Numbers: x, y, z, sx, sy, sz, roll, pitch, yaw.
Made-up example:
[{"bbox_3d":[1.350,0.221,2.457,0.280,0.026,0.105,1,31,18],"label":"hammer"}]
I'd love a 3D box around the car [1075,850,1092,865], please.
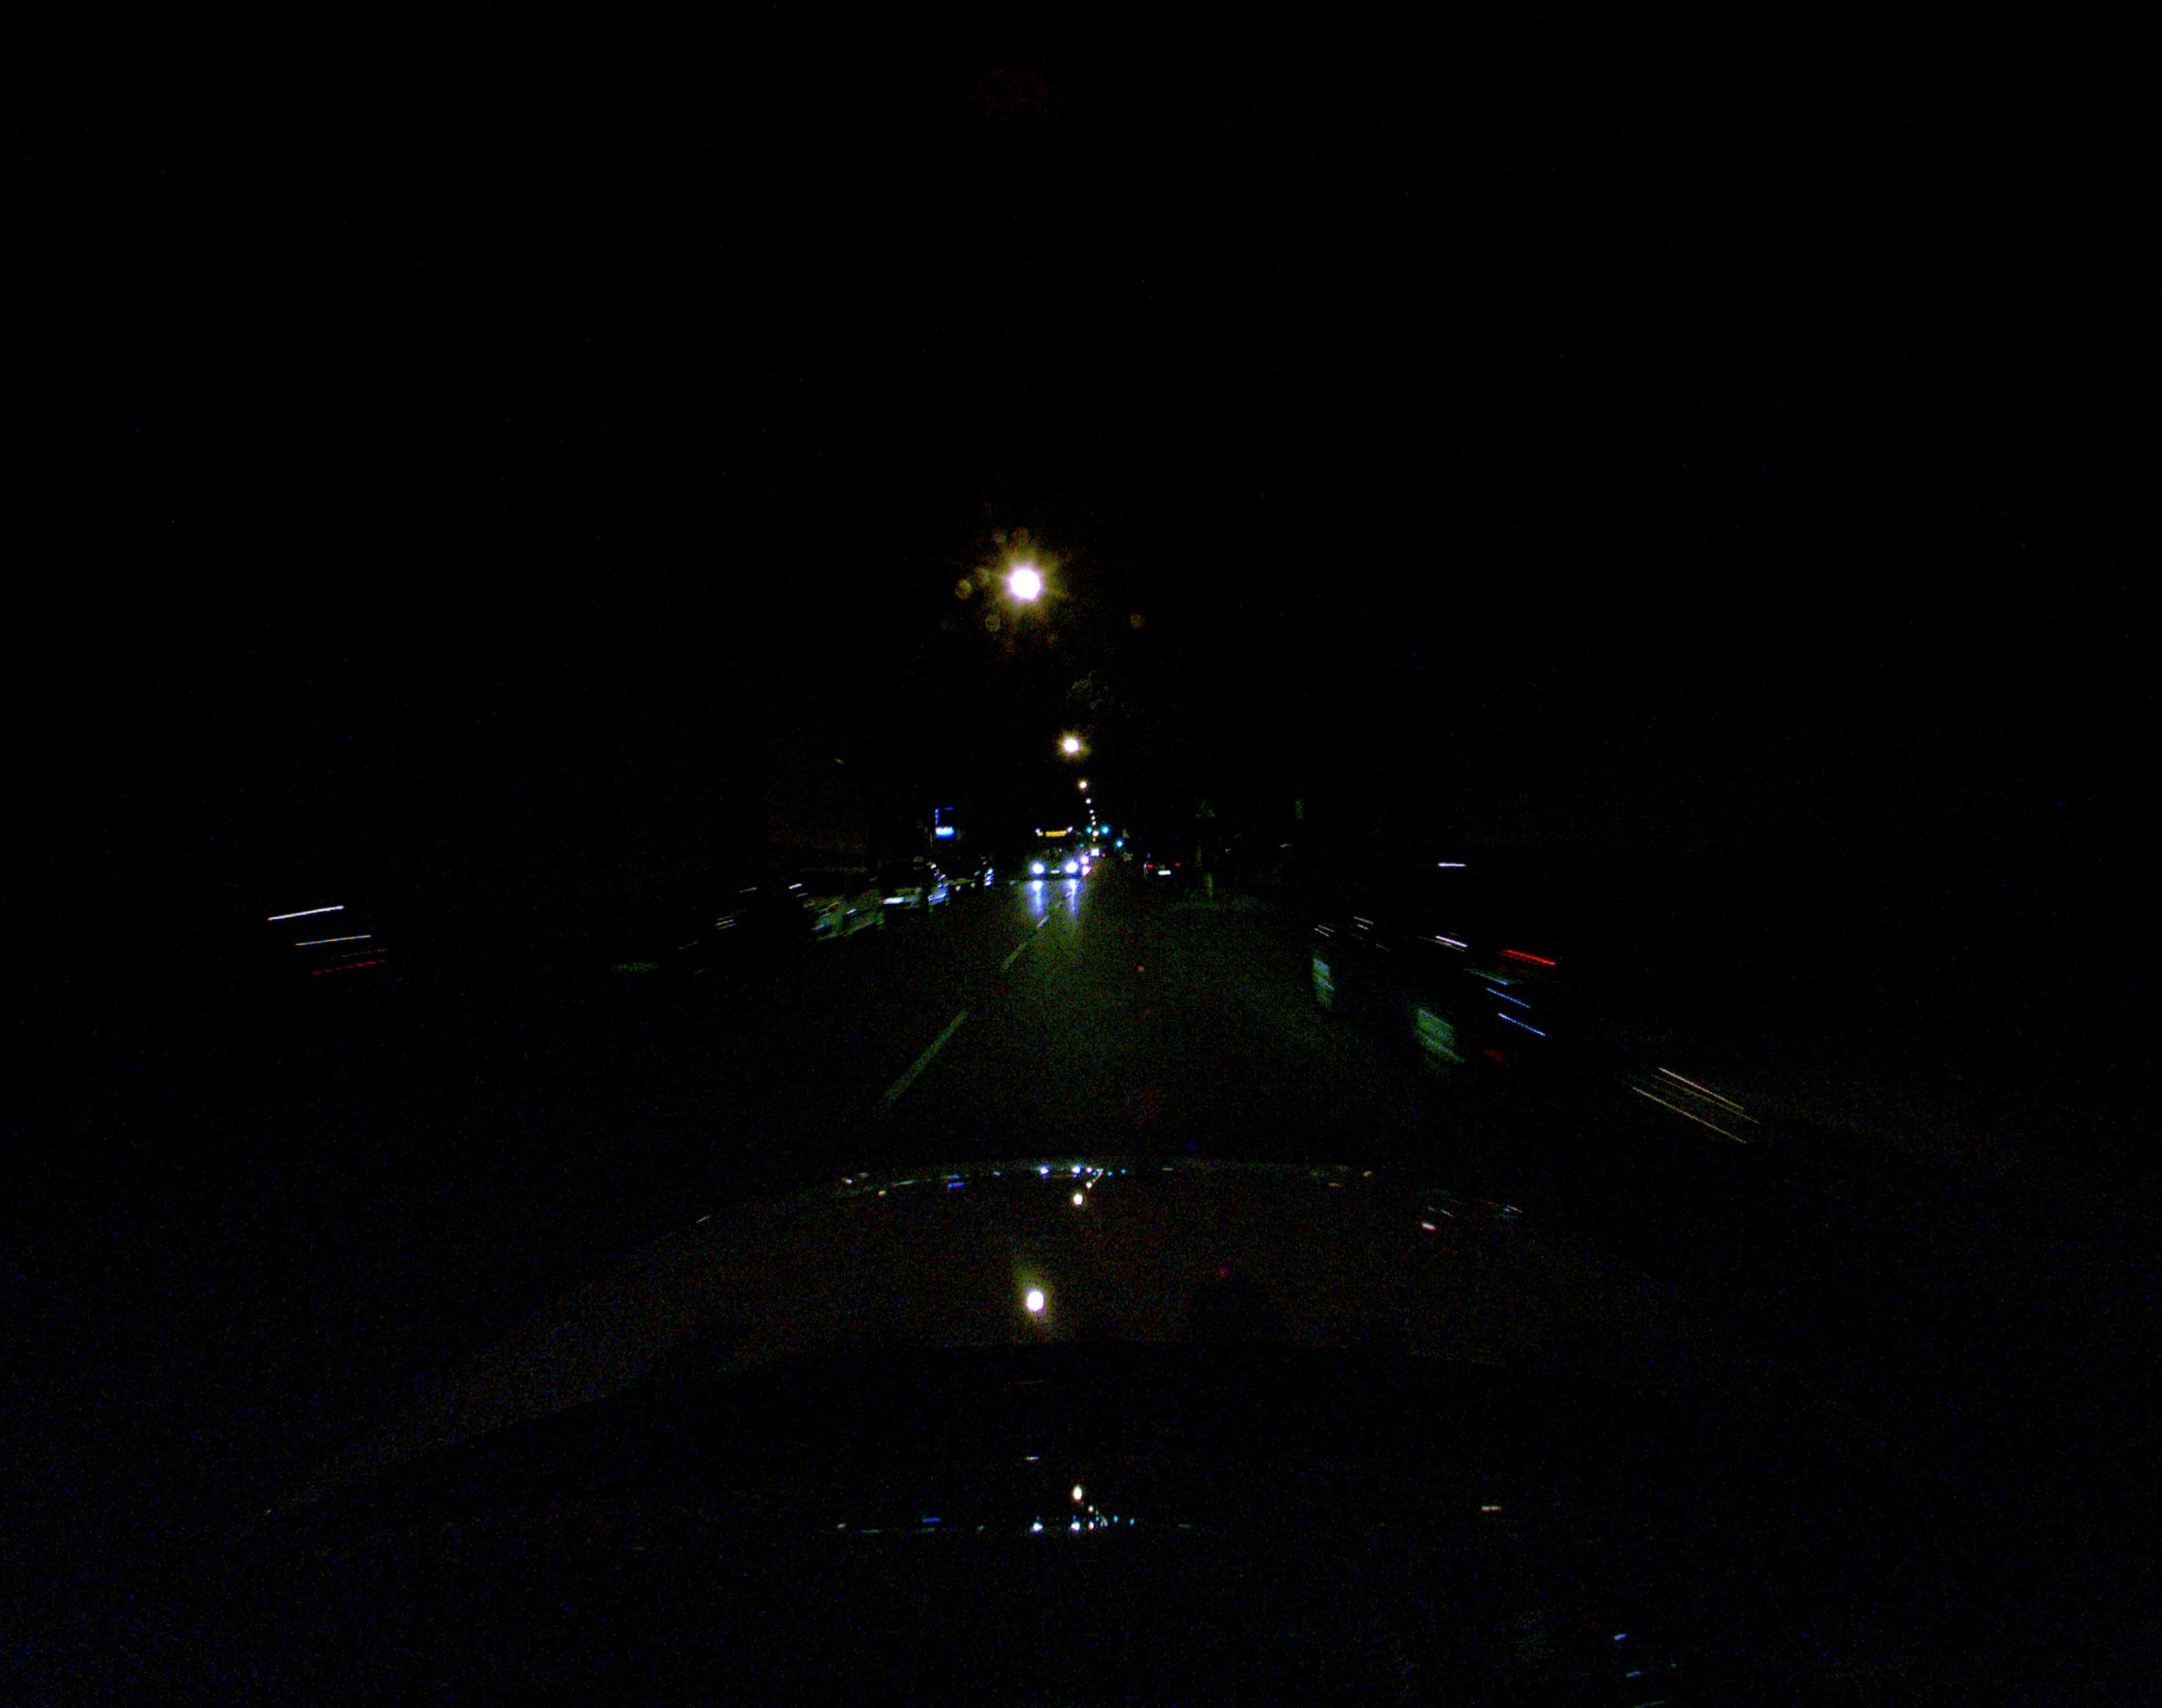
[{"bbox_3d":[0.303,0.372,84.915,1.640,1.422,3.871,-4,1,0],"label":"car"}]

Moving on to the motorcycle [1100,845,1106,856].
[{"bbox_3d":[3.670,-0.638,137.469,0.927,1.752,2.626,-2,-1,2],"label":"motorcycle"}]

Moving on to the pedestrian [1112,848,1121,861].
[{"bbox_3d":[4.854,0.065,111.306,0.930,1.699,0.759,0,1,-34],"label":"pedestrian"}]

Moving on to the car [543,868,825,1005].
[{"bbox_3d":[-5.324,0.998,11.676,1.857,1.491,4.280,-2,-1,1],"label":"car"}]

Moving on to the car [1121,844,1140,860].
[{"bbox_3d":[5.301,-0.246,88.063,1.805,1.594,4.275,-5,1,1],"label":"car"}]

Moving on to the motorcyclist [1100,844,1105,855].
[{"bbox_3d":[3.661,-0.803,137.472,0.845,1.752,0.806,-2,-1,1],"label":"motorcyclist"}]

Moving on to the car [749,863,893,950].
[{"bbox_3d":[-5.098,0.967,16.497,1.616,1.491,3.781,-2,-1,1],"label":"car"}]

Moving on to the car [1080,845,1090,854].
[{"bbox_3d":[0.899,-0.975,179.638,1.937,1.717,4.001,-2,-1,2],"label":"car"}]

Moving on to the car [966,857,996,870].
[{"bbox_3d":[-11.995,1.099,97.700,3.224,1.453,1.806,-3,-1,34],"label":"car"}]

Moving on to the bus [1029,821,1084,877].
[{"bbox_3d":[-1.405,-0.326,52.989,2.827,3.177,10.502,-2,1,2],"label":"bus"}]

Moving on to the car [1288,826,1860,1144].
[{"bbox_3d":[2.932,0.644,6.009,1.765,1.448,4.020,-4,0,1],"label":"car"}]

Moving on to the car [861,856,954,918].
[{"bbox_3d":[-5.030,0.897,24.143,1.698,1.491,4.228,-4,0,1],"label":"car"}]

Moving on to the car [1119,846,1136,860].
[{"bbox_3d":[5.778,-0.167,101.531,1.862,1.526,4.151,-5,1,1],"label":"car"}]

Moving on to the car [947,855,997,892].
[{"bbox_3d":[-4.736,0.832,35.748,1.632,1.498,2.767,-3,-1,3],"label":"car"}]

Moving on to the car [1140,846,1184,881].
[{"bbox_3d":[3.849,0.416,39.239,1.756,1.476,4.082,-5,1,2],"label":"car"}]

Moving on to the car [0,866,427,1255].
[{"bbox_3d":[-5.574,0.944,3.443,1.829,1.619,4.545,-2,0,1],"label":"car"}]

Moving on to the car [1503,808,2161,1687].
[{"bbox_3d":[2.704,0.636,1.062,1.839,1.417,4.646,-6,-1,1],"label":"car"}]

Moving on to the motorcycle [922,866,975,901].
[{"bbox_3d":[-4.639,1.032,28.476,0.720,1.147,2.182,-4,1,-41],"label":"motorcycle"}]

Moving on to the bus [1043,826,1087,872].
[{"bbox_3d":[-1.128,-0.427,62.098,2.827,3.177,7.664,-2,1,2],"label":"bus"}]

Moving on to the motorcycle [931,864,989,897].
[{"bbox_3d":[-4.535,0.992,30.494,2.180,1.131,0.720,-3,1,34],"label":"motorcycle"}]
